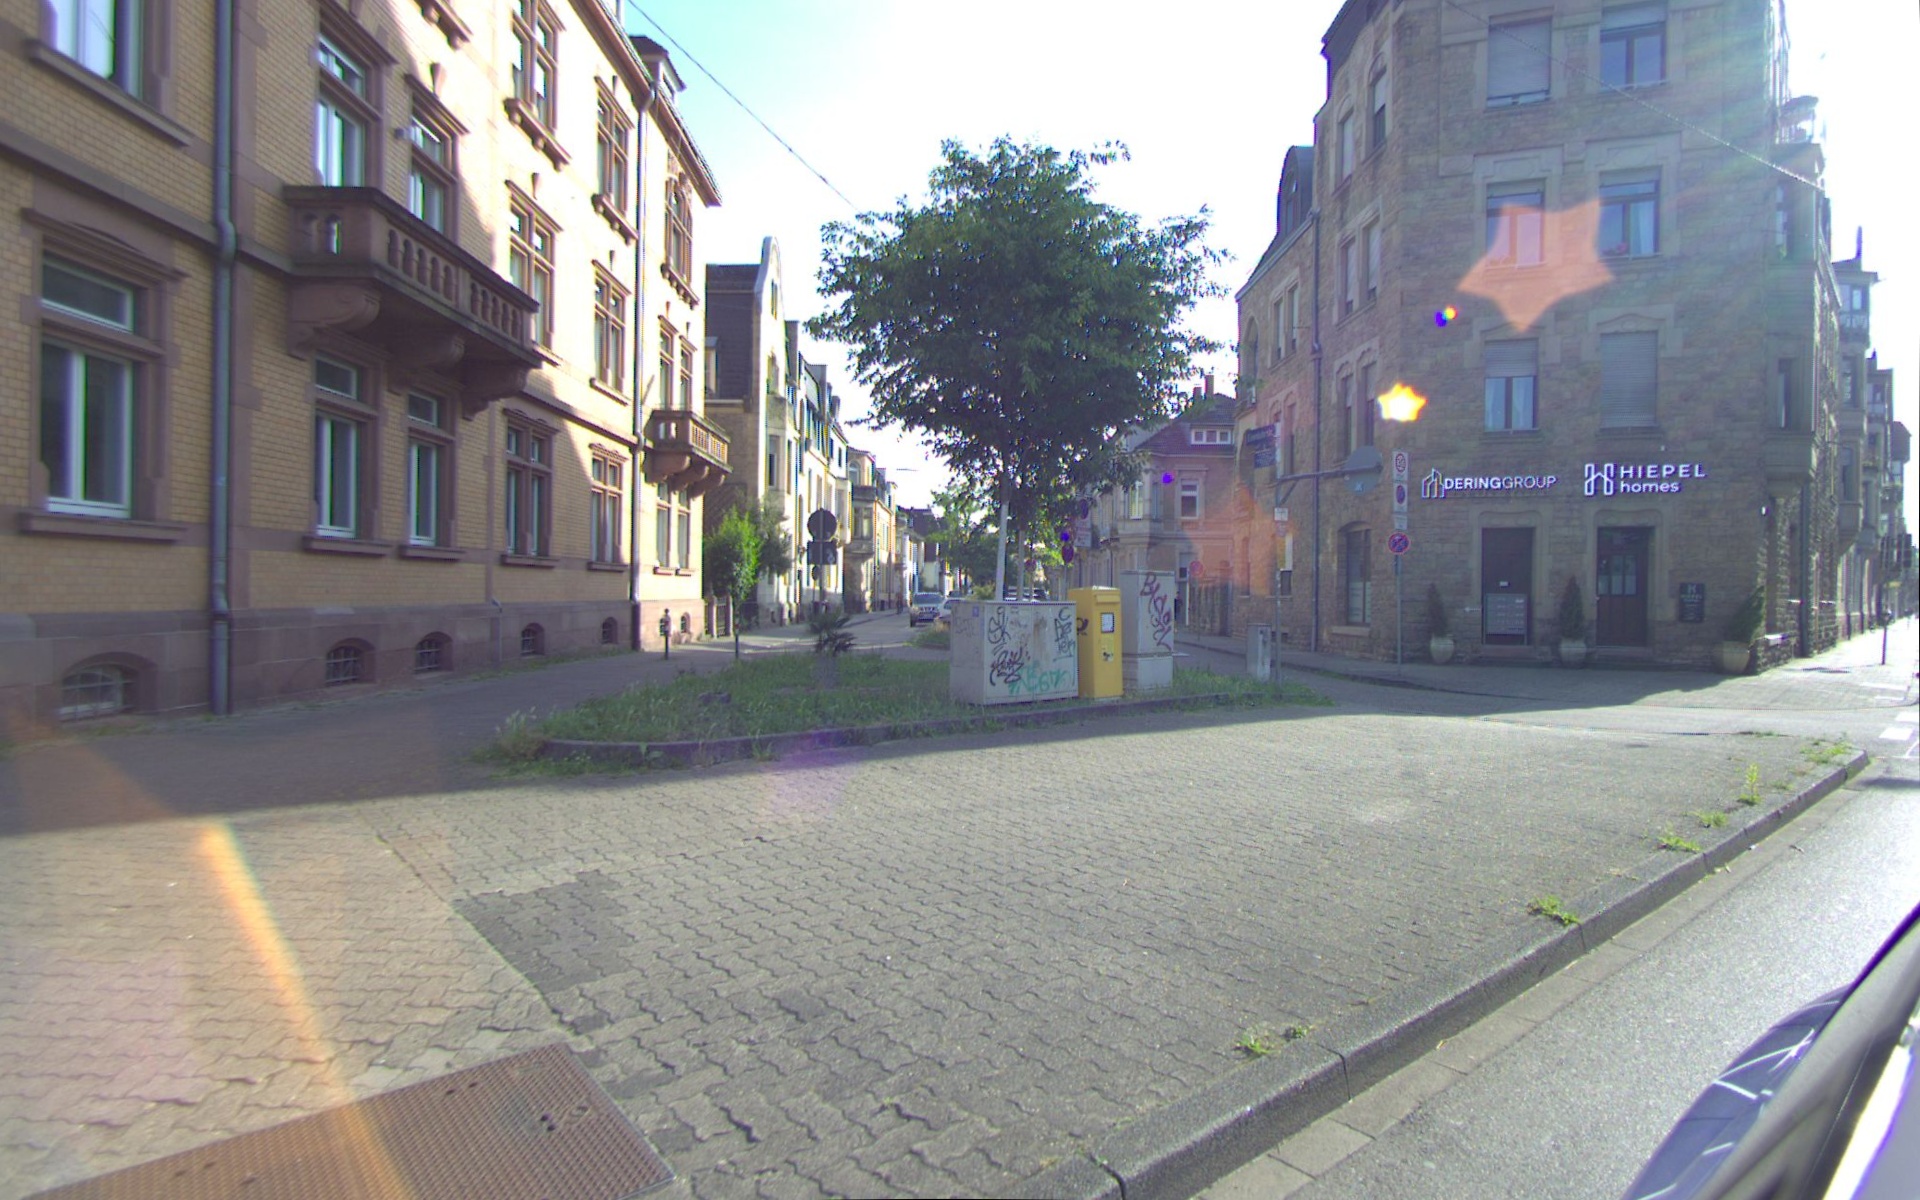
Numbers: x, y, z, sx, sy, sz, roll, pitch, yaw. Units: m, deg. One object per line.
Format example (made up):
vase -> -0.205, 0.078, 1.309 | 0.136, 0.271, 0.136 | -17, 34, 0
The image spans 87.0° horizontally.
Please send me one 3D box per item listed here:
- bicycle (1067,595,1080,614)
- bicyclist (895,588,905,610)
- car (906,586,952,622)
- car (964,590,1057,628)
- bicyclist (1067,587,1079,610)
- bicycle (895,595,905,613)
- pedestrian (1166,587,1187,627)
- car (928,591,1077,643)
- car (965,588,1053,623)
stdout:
bicycle -> 7.179, 0.260, 64.127 | 0.682, 1.171, 2.478 | 0, 0, 3
bicyclist -> -4.368, -0.094, 73.403 | 0.643, 1.560, 0.896 | 1, 0, 1
car -> -1.482, 0.194, 49.706 | 1.963, 1.672, 3.997 | 0, 0, 2
car -> 2.341, 0.404, 47.241 | 3.977, 1.672, 1.973 | 0, -1, 38
bicyclist -> 7.152, -0.074, 64.231 | 0.730, 1.474, 0.654 | 0, -1, 3
bicycle -> -4.376, 0.275, 73.449 | 0.561, 1.273, 1.569 | 1, 0, 1
pedestrian -> 9.250, 0.305, 43.219 | 0.749, 1.696, 0.782 | 0, -1, 4
car -> 1.310, 0.521, 32.144 | 4.426, 1.533, 1.974 | 0, -1, 37
car -> 2.449, 0.287, 50.216 | 3.951, 1.672, 1.986 | 0, -1, 21
